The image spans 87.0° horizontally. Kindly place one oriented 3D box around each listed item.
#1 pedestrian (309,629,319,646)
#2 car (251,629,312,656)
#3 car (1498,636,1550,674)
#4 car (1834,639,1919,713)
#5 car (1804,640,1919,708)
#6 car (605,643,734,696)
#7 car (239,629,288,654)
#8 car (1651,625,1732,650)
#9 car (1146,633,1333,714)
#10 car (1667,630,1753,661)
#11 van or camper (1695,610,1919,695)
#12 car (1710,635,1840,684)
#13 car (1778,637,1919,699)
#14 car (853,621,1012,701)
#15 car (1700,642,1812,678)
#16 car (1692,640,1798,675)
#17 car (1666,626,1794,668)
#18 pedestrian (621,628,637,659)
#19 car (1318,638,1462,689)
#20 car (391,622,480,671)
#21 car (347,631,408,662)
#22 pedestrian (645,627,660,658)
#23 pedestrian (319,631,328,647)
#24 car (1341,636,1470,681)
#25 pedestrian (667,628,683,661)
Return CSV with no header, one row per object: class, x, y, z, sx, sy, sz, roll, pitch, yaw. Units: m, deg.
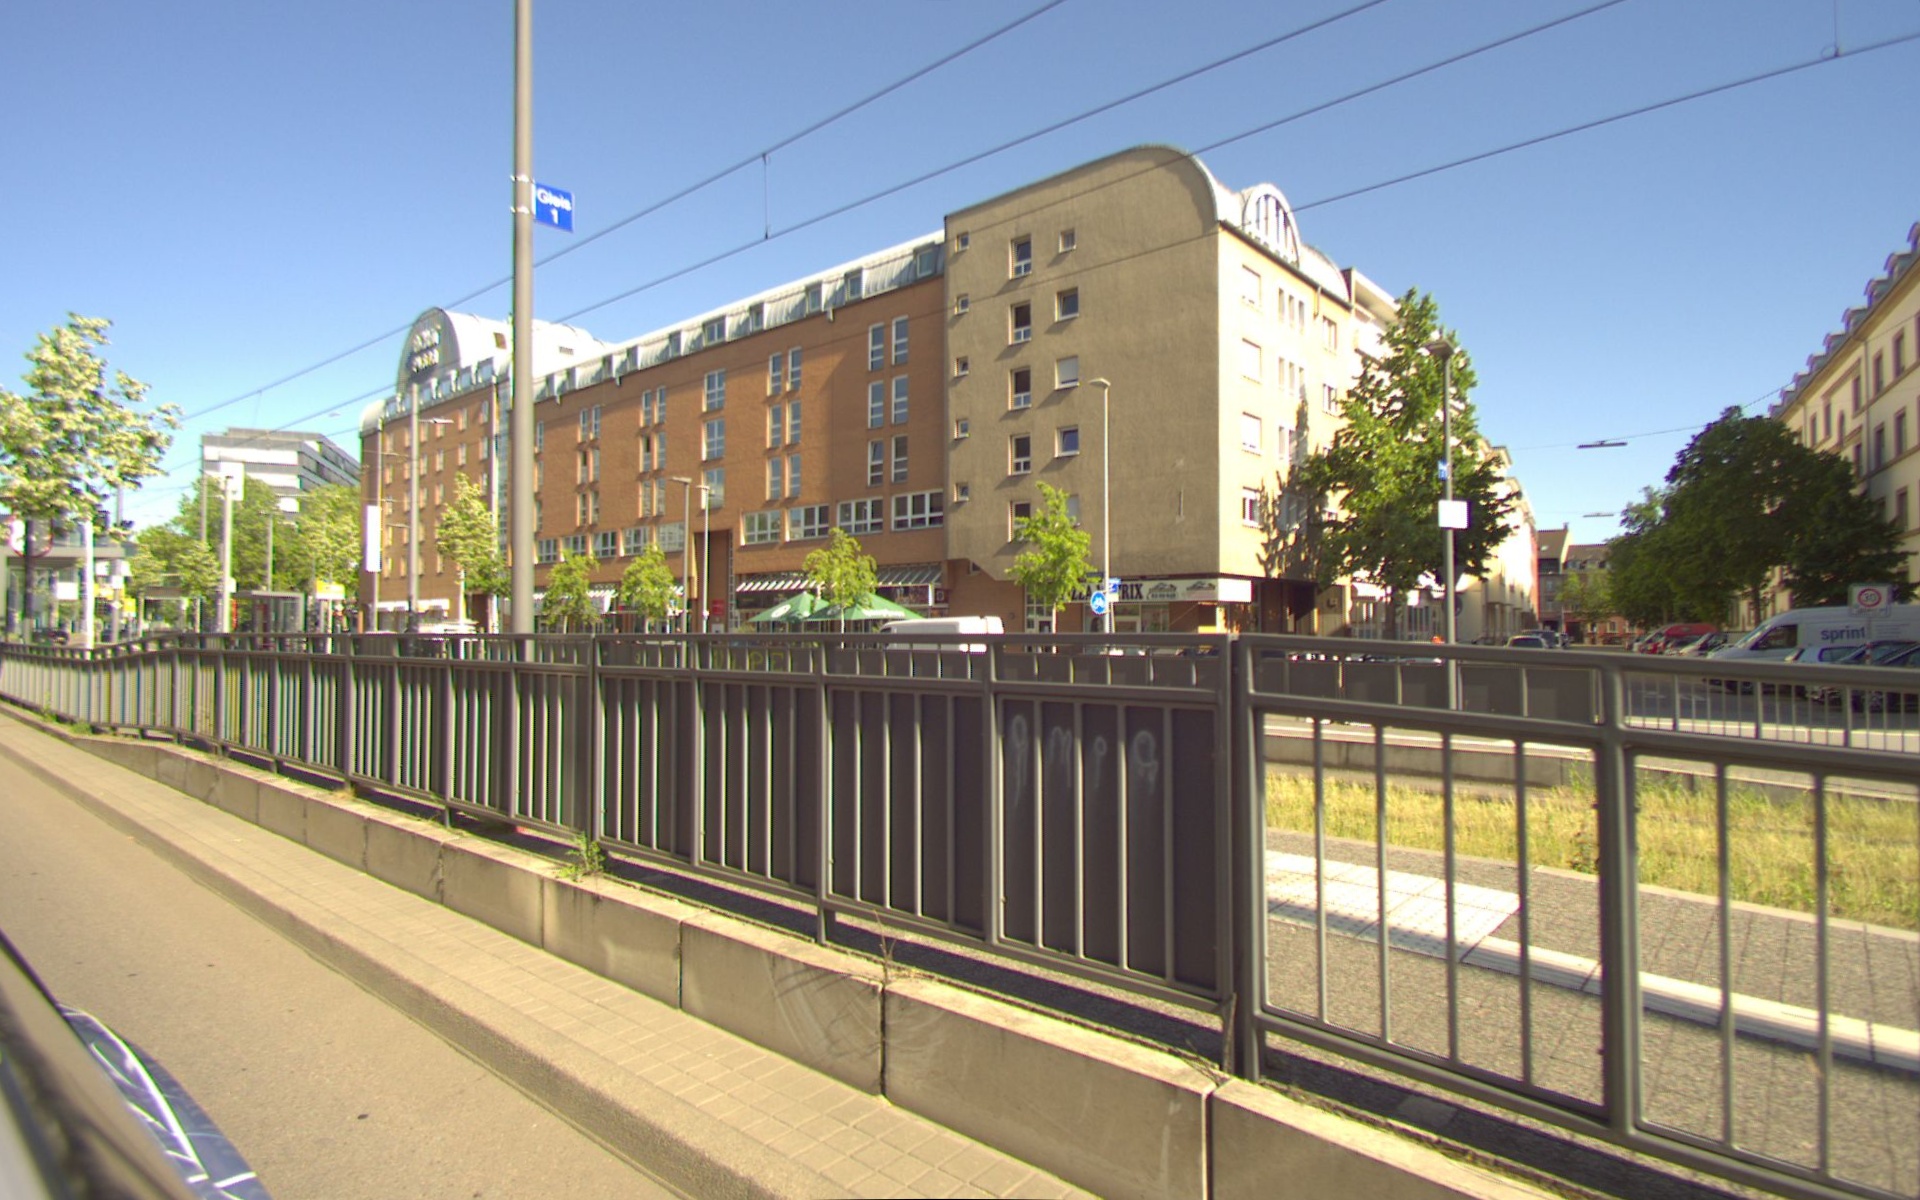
pedestrian,-65.845,3.854,103.187,0.728,1.719,0.637,-2,-3,45
car,-35.440,2.181,52.833,3.958,1.296,1.677,-1,0,40
car,25.728,2.471,46.266,1.947,1.674,3.962,-1,-2,27
car,21.232,1.615,21.572,3.661,1.533,1.673,-1,-2,32
car,22.527,1.730,23.960,3.661,1.533,1.673,-1,-2,32
car,-8.460,1.964,29.338,3.958,1.296,1.677,-1,0,40
car,-49.489,2.920,71.864,3.998,1.696,1.973,-1,0,41
car,53.014,2.694,73.440,4.557,1.745,2.024,-1,-2,32
car,6.692,1.698,24.443,3.997,1.773,1.796,-2,-3,40
car,41.571,2.505,56.165,3.654,1.649,1.673,-1,-2,32
van or camper,25.878,1.538,30.345,5.932,2.419,1.980,-1,-2,30
car,33.628,2.414,41.893,3.930,1.942,1.673,-1,-2,32
car,23.718,1.731,26.238,3.654,1.533,1.673,-1,-2,32
car,-1.004,1.887,32.766,1.969,2.388,5.652,1,-2,-41
car,34.826,2.609,44.420,3.654,1.512,1.673,-1,-2,32
car,35.935,2.609,46.446,3.654,1.512,1.673,-1,-2,32
car,38.314,2.311,50.528,4.857,2.022,1.920,-1,-2,32
pedestrian,-20.292,2.667,62.034,0.644,1.854,0.614,-2,-3,39
car,13.236,1.925,31.203,3.980,1.462,1.769,-1,-2,27
car,-21.285,1.831,41.010,4.086,1.808,1.801,-1,0,40
car,-34.832,2.742,60.473,3.998,1.696,1.973,-1,0,41
pedestrian,-18.731,2.607,61.685,0.644,1.854,0.614,-2,-3,39
pedestrian,-65.775,4.038,104.621,0.728,1.622,0.637,-2,-3,45
car,15.412,1.986,35.026,3.980,1.462,1.769,-1,-2,27
pedestrian,-16.412,2.551,58.218,0.644,1.854,0.614,-2,-3,41
